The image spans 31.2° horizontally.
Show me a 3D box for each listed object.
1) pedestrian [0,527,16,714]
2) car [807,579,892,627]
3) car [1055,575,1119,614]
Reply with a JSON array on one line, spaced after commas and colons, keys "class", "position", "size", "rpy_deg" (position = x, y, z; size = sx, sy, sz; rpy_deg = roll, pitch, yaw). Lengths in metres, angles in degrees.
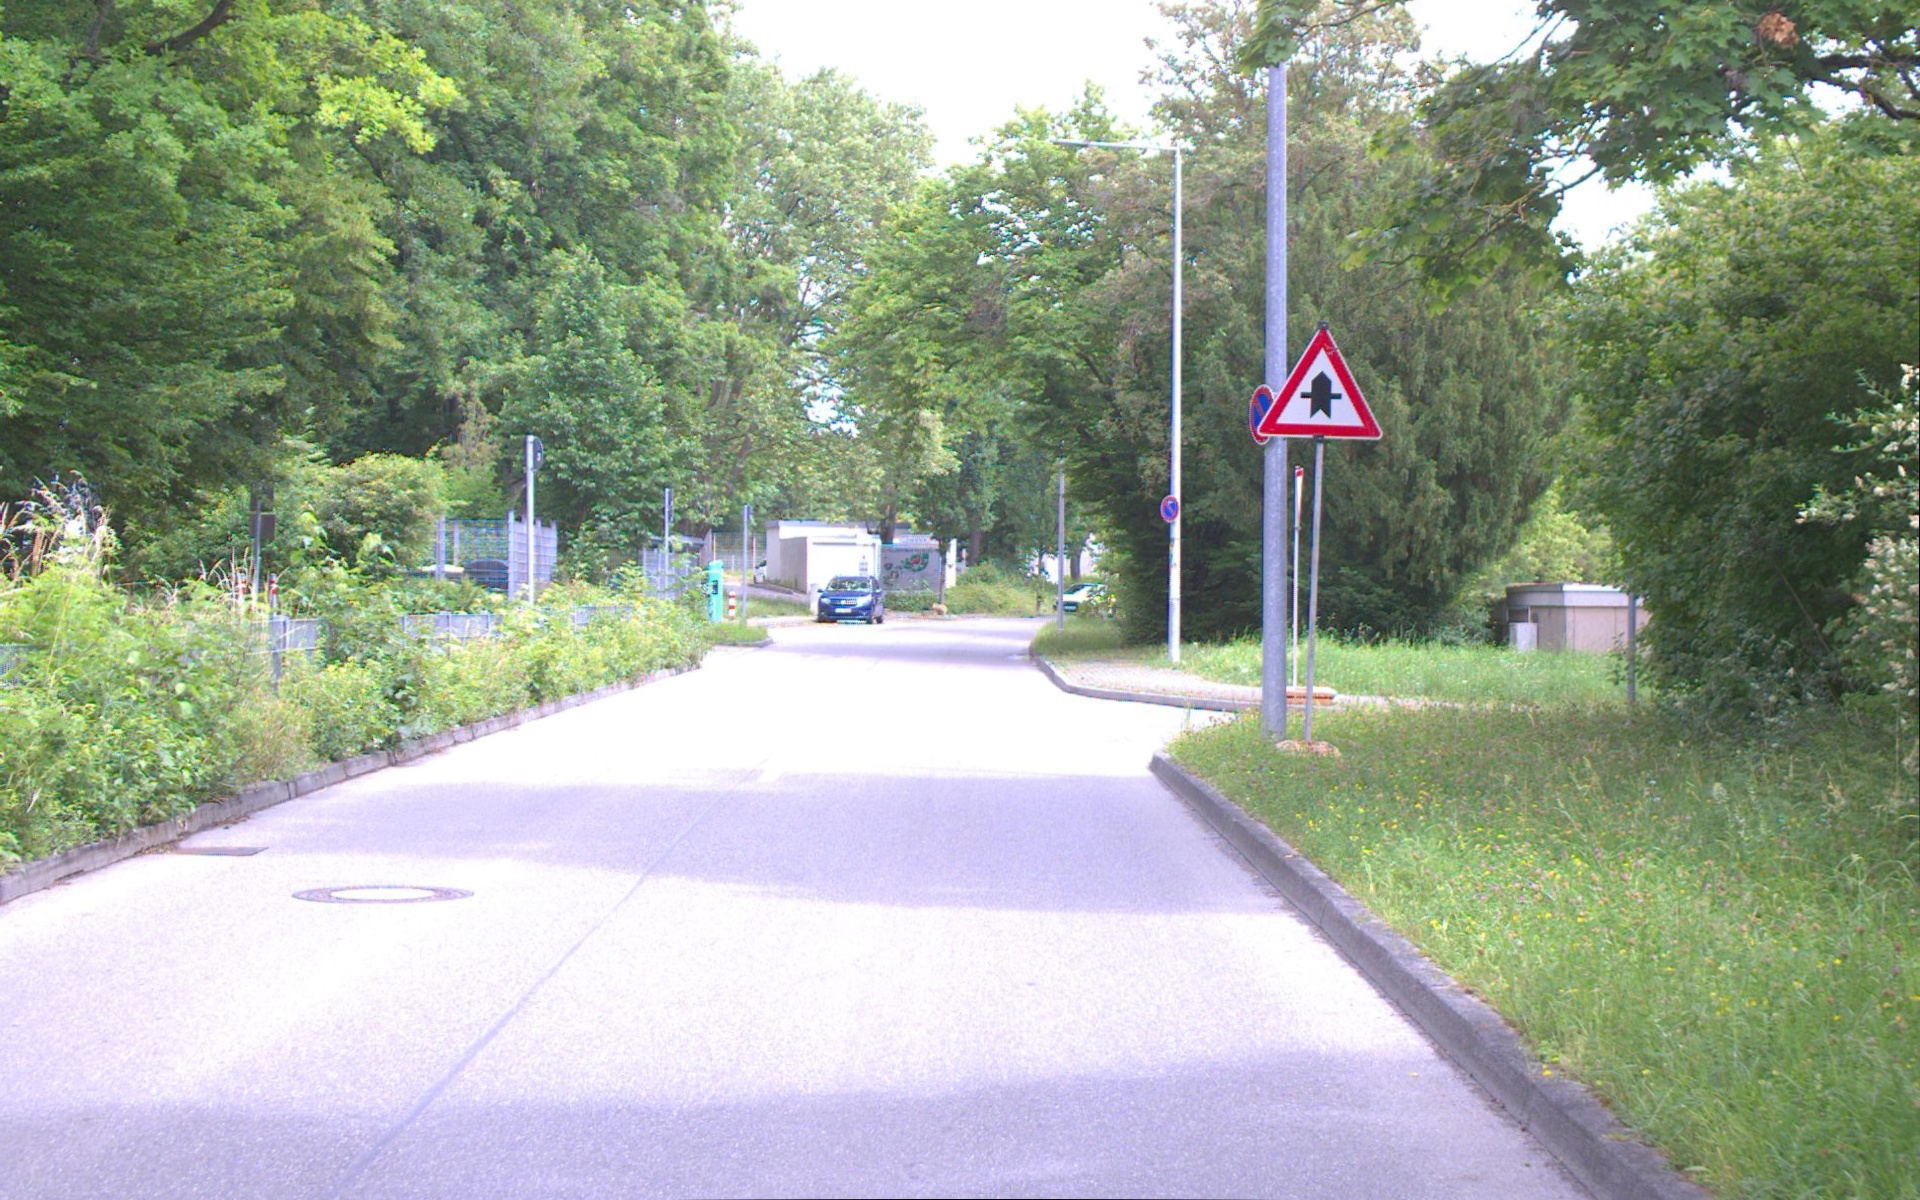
[{"class": "pedestrian", "position": [-10.810, 0.234, 37.090], "size": [0.865, 2.007, 0.878], "rpy_deg": [1, -3, -44]}, {"class": "car", "position": [-3.430, 0.076, 107.394], "size": [1.979, 1.379, 3.999], "rpy_deg": [2, 1, 8]}, {"class": "car", "position": [5.373, -0.206, 144.884], "size": [1.861, 1.487, 3.997], "rpy_deg": [-2, -2, 15]}]
